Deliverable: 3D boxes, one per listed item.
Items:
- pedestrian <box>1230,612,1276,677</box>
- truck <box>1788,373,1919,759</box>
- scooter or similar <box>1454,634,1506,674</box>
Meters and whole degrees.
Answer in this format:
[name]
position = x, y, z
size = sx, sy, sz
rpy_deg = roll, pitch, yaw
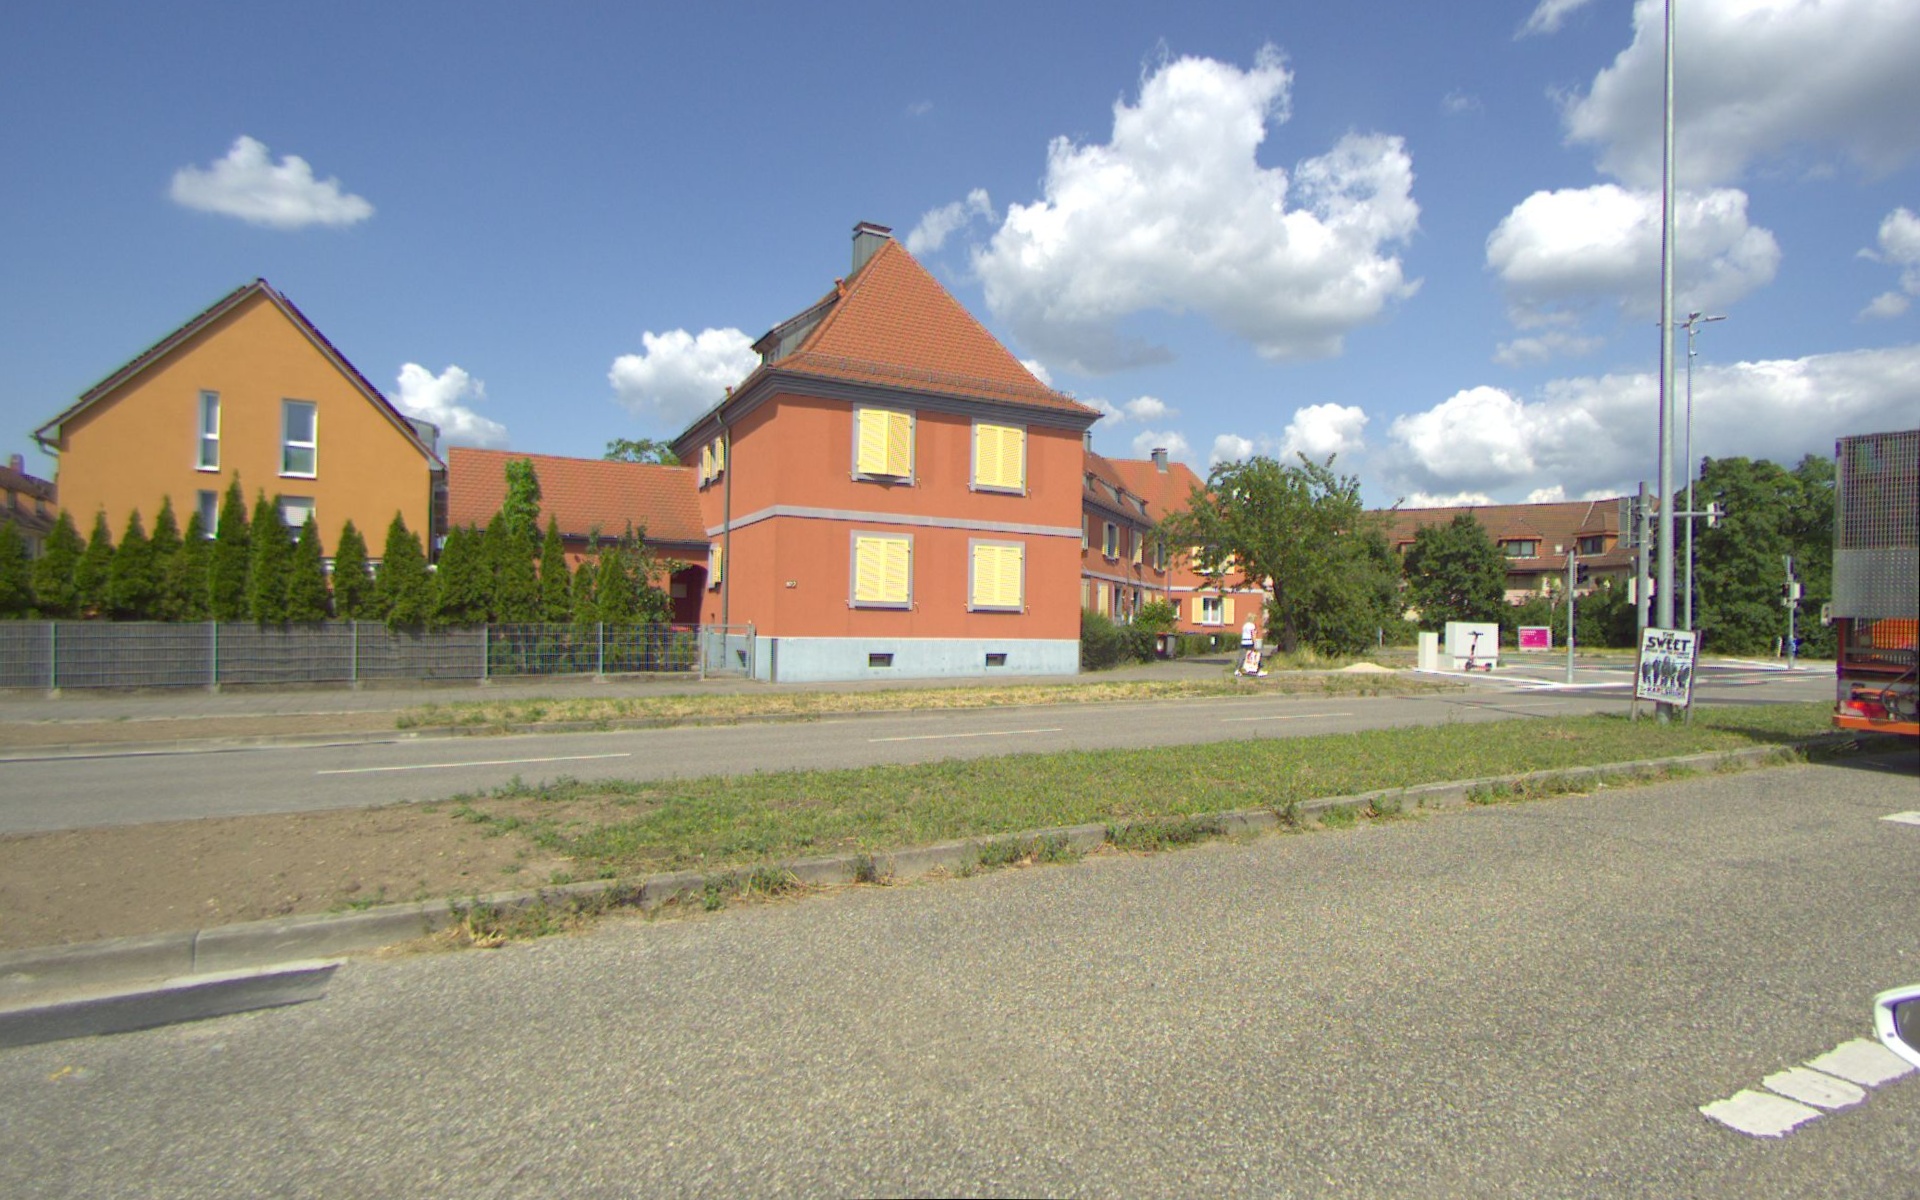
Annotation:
[pedestrian]
position = 7.524, 1.140, 25.830
size = 0.841, 1.604, 0.692
rpy_deg = 2, 0, -30
[truck]
position = 13.612, -0.116, 11.241
size = 10.939, 3.459, 3.056
rpy_deg = 2, 0, -30
[scooter or similar]
position = 16.269, 1.688, 31.427
size = 1.741, 1.179, 0.586
rpy_deg = 2, 0, -31
